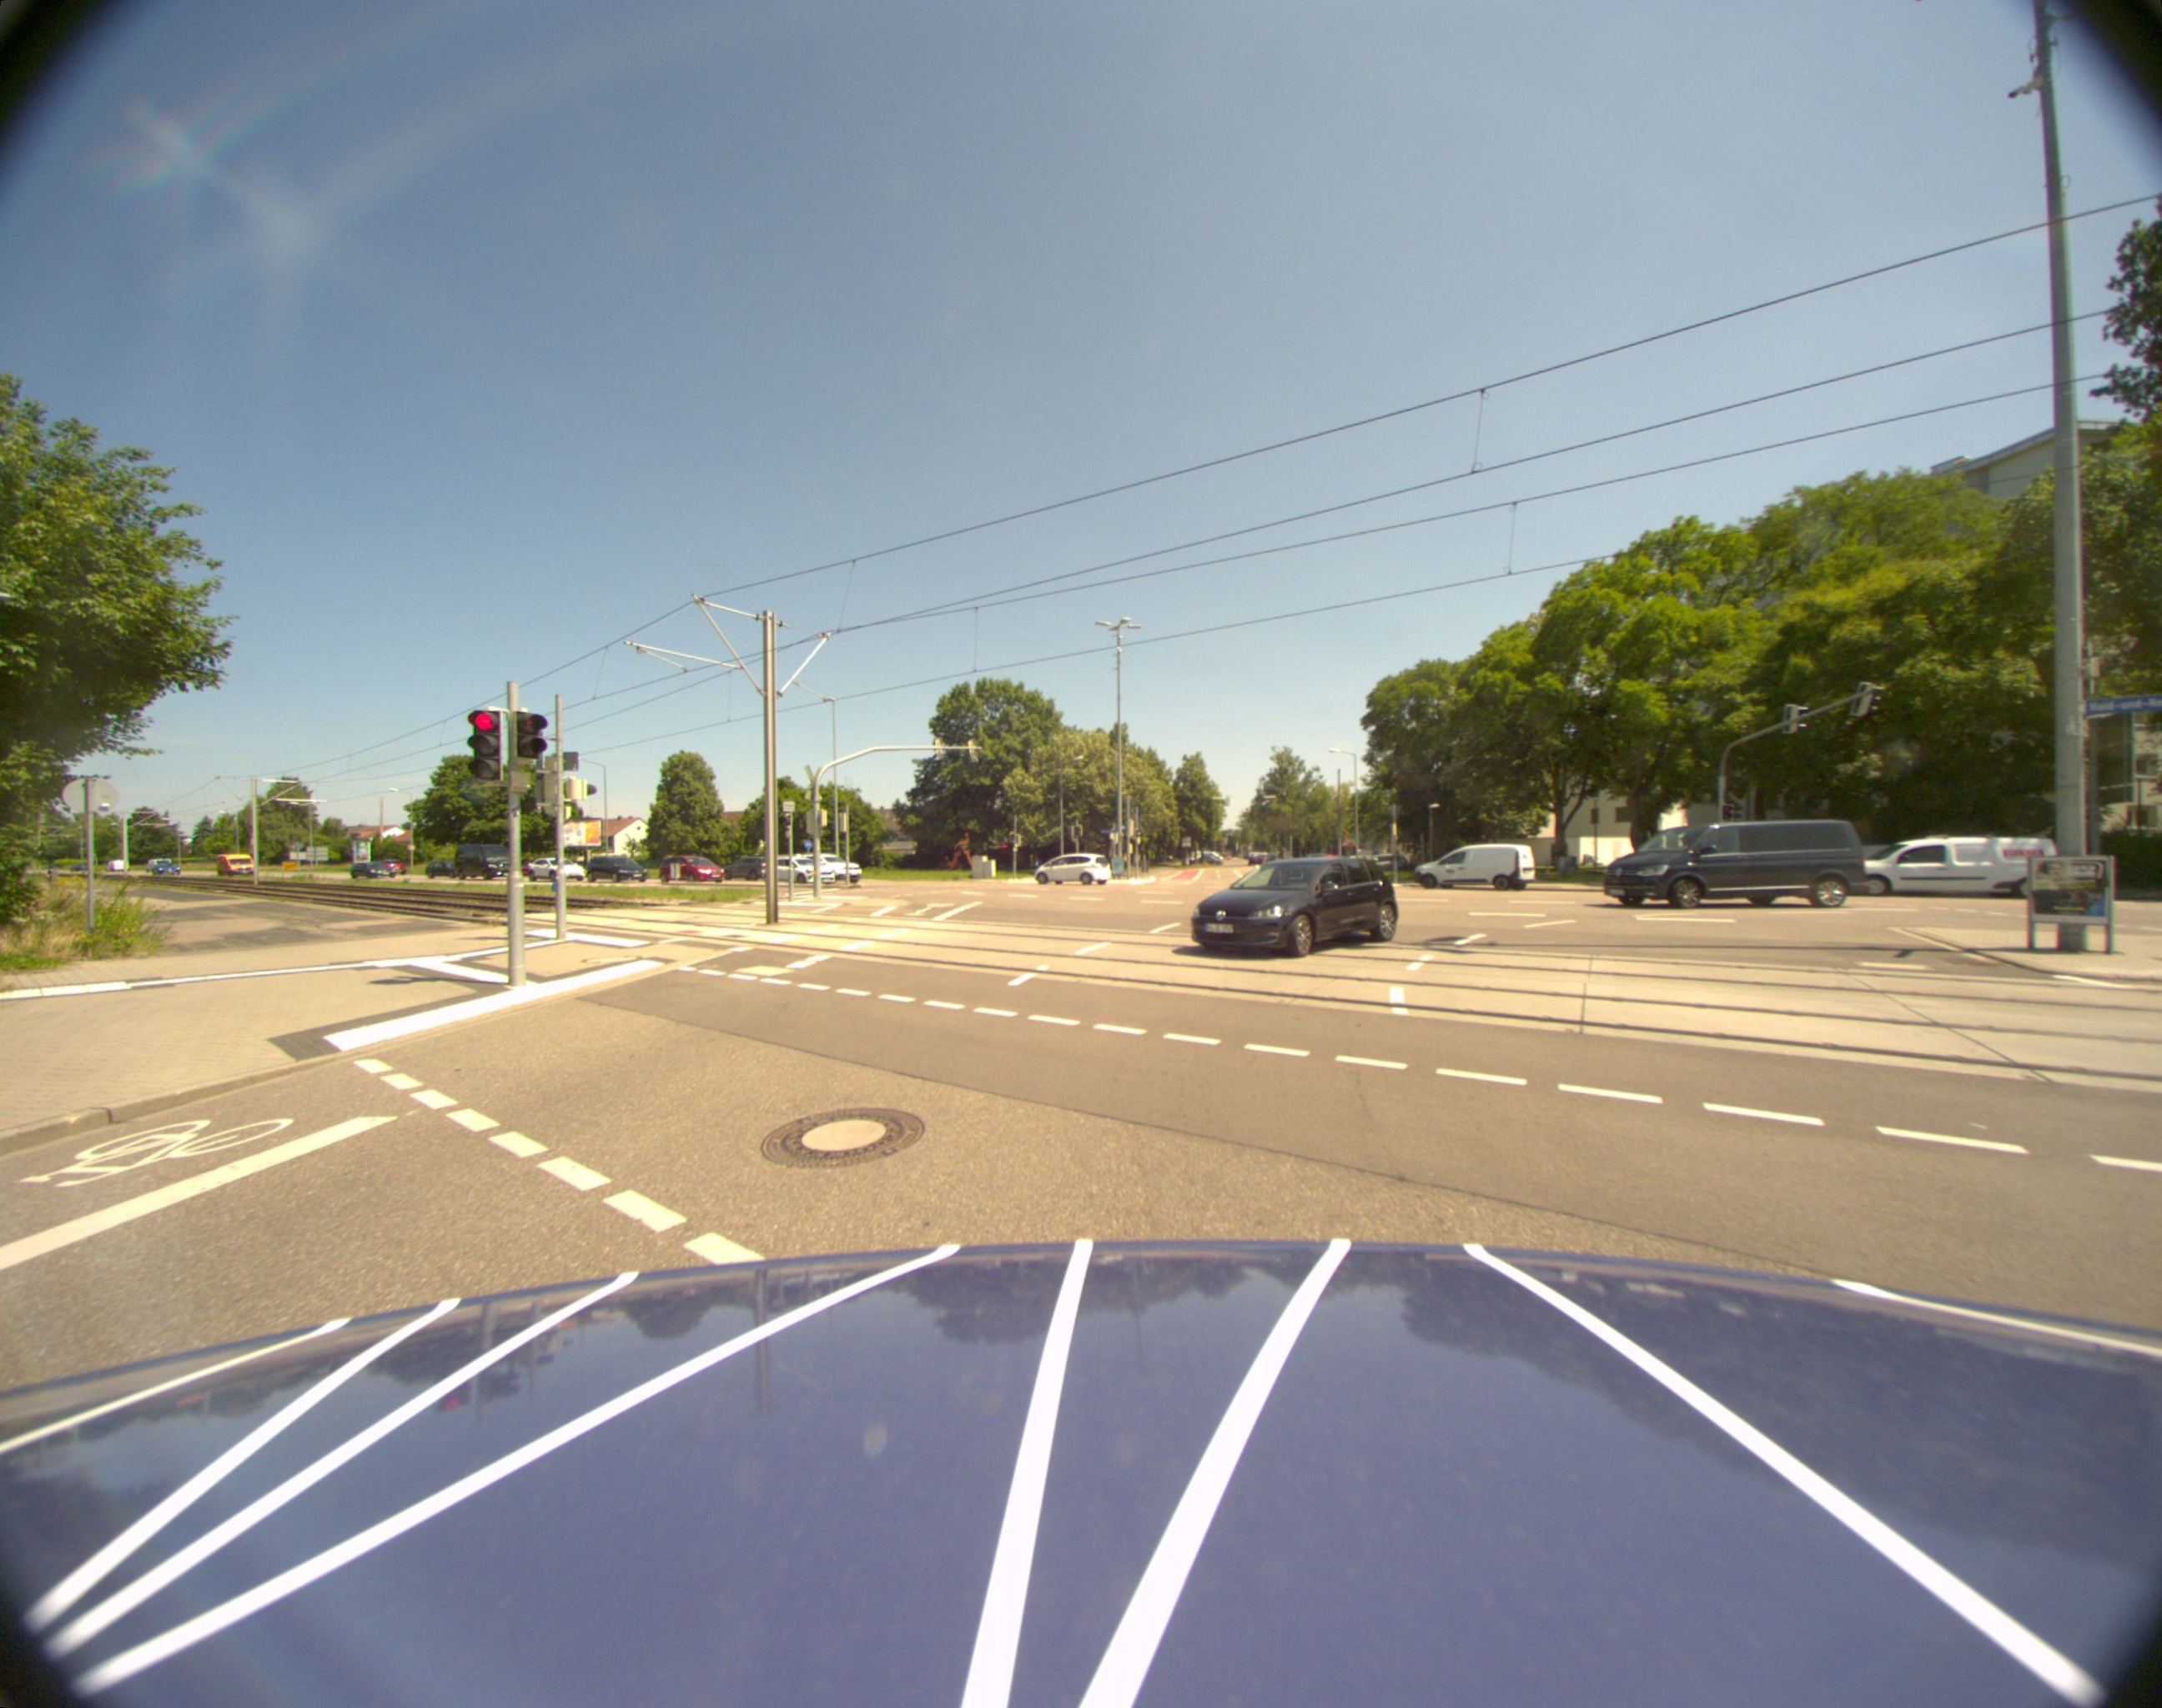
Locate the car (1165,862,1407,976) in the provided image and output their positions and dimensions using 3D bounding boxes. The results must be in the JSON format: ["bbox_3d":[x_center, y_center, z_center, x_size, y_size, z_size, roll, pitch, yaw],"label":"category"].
[{"bbox_3d":[3.397,0.900,12.209,4.061,1.396,1.705,-2,1,-40],"label":"car"}]

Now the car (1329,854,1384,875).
[{"bbox_3d":[20.120,0.753,55.564,3.487,1.419,1.586,-2,-2,9],"label":"car"}]

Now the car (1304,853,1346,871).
[{"bbox_3d":[22.977,0.769,71.618,3.487,1.545,1.586,-2,-2,9],"label":"car"}]

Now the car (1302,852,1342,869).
[{"bbox_3d":[23.403,0.635,73.992,3.487,1.545,1.586,-2,-2,9],"label":"car"}]

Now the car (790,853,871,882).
[{"bbox_3d":[-13.936,0.743,42.179,4.399,1.567,1.879,-1,-1,32],"label":"car"}]

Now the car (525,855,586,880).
[{"bbox_3d":[-34.767,0.883,50.265,4.399,1.567,1.734,-1,-1,32],"label":"car"}]

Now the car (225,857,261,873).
[{"bbox_3d":[-91.057,1.157,82.556,4.399,1.675,1.879,-1,-1,32],"label":"car"}]

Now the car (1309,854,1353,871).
[{"bbox_3d":[22.624,0.738,68.863,3.487,1.419,1.586,-2,-2,9],"label":"car"}]

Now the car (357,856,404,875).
[{"bbox_3d":[-59.878,1.018,64.972,4.399,1.567,1.879,-1,-1,32],"label":"car"}]

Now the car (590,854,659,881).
[{"bbox_3d":[-28.238,0.827,46.942,4.399,1.567,1.879,-1,-1,32],"label":"car"}]

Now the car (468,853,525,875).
[{"bbox_3d":[-42.670,0.737,55.432,4.399,1.567,1.879,-1,-1,32],"label":"car"}]

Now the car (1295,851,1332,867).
[{"bbox_3d":[24.199,0.511,79.211,3.487,1.570,1.586,-2,-2,9],"label":"car"}]

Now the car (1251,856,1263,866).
[{"bbox_3d":[24.768,0.966,106.902,1.582,1.219,3.496,-2,-2,12],"label":"car"}]

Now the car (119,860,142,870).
[{"bbox_3d":[-161.699,1.881,129.247,3.989,1.744,1.777,-1,-2,30],"label":"car"}]

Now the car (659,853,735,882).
[{"bbox_3d":[-21.872,0.742,43.201,4.399,1.567,1.879,-1,-1,32],"label":"car"}]

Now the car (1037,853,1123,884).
[{"bbox_3d":[-0.078,0.703,37.606,3.887,1.496,1.735,0,0,30],"label":"car"}]

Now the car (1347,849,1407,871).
[{"bbox_3d":[20.236,0.434,52.028,3.488,1.419,1.586,-1,-2,6],"label":"car"}]

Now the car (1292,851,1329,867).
[{"bbox_3d":[24.541,0.583,81.312,3.487,1.570,1.586,-2,-2,9],"label":"car"}]

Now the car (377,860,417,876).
[{"bbox_3d":[-68.241,1.384,75.786,4.399,1.451,1.853,0,1,32],"label":"car"}]

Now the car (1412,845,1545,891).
[{"bbox_3d":[15.726,0.548,30.223,1.815,1.707,4.331,0,-1,-41],"label":"car"}]

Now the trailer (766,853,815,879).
[{"bbox_3d":[-18.613,0.765,48.688,2.930,1.645,1.412,0,0,31],"label":"trailer"}]

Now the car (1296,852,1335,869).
[{"bbox_3d":[23.451,0.650,76.131,3.487,1.545,1.586,-2,-2,9],"label":"car"}]

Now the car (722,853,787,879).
[{"bbox_3d":[-21.741,0.812,50.612,4.396,1.648,1.735,0,-1,31],"label":"car"}]

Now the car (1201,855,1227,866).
[{"bbox_3d":[18.766,0.906,107.167,3.487,1.467,1.586,-2,-2,9],"label":"car"}]

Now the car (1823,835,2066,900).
[{"bbox_3d":[25.366,0.419,22.598,4.380,1.782,1.901,-1,-2,31],"label":"car"}]

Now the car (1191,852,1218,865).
[{"bbox_3d":[18.234,0.712,112.299,3.768,1.718,1.764,-2,-2,9],"label":"car"}]

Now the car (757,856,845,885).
[{"bbox_3d":[-14.231,0.816,38.541,4.399,1.380,1.879,-1,-1,32],"label":"car"}]

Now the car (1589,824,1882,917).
[{"bbox_3d":[14.616,0.356,17.229,4.841,1.920,1.943,-1,1,4],"label":"car"}]

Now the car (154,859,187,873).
[{"bbox_3d":[-119.619,1.553,99.807,3.989,1.779,2.003,-1,2,30],"label":"car"}]
